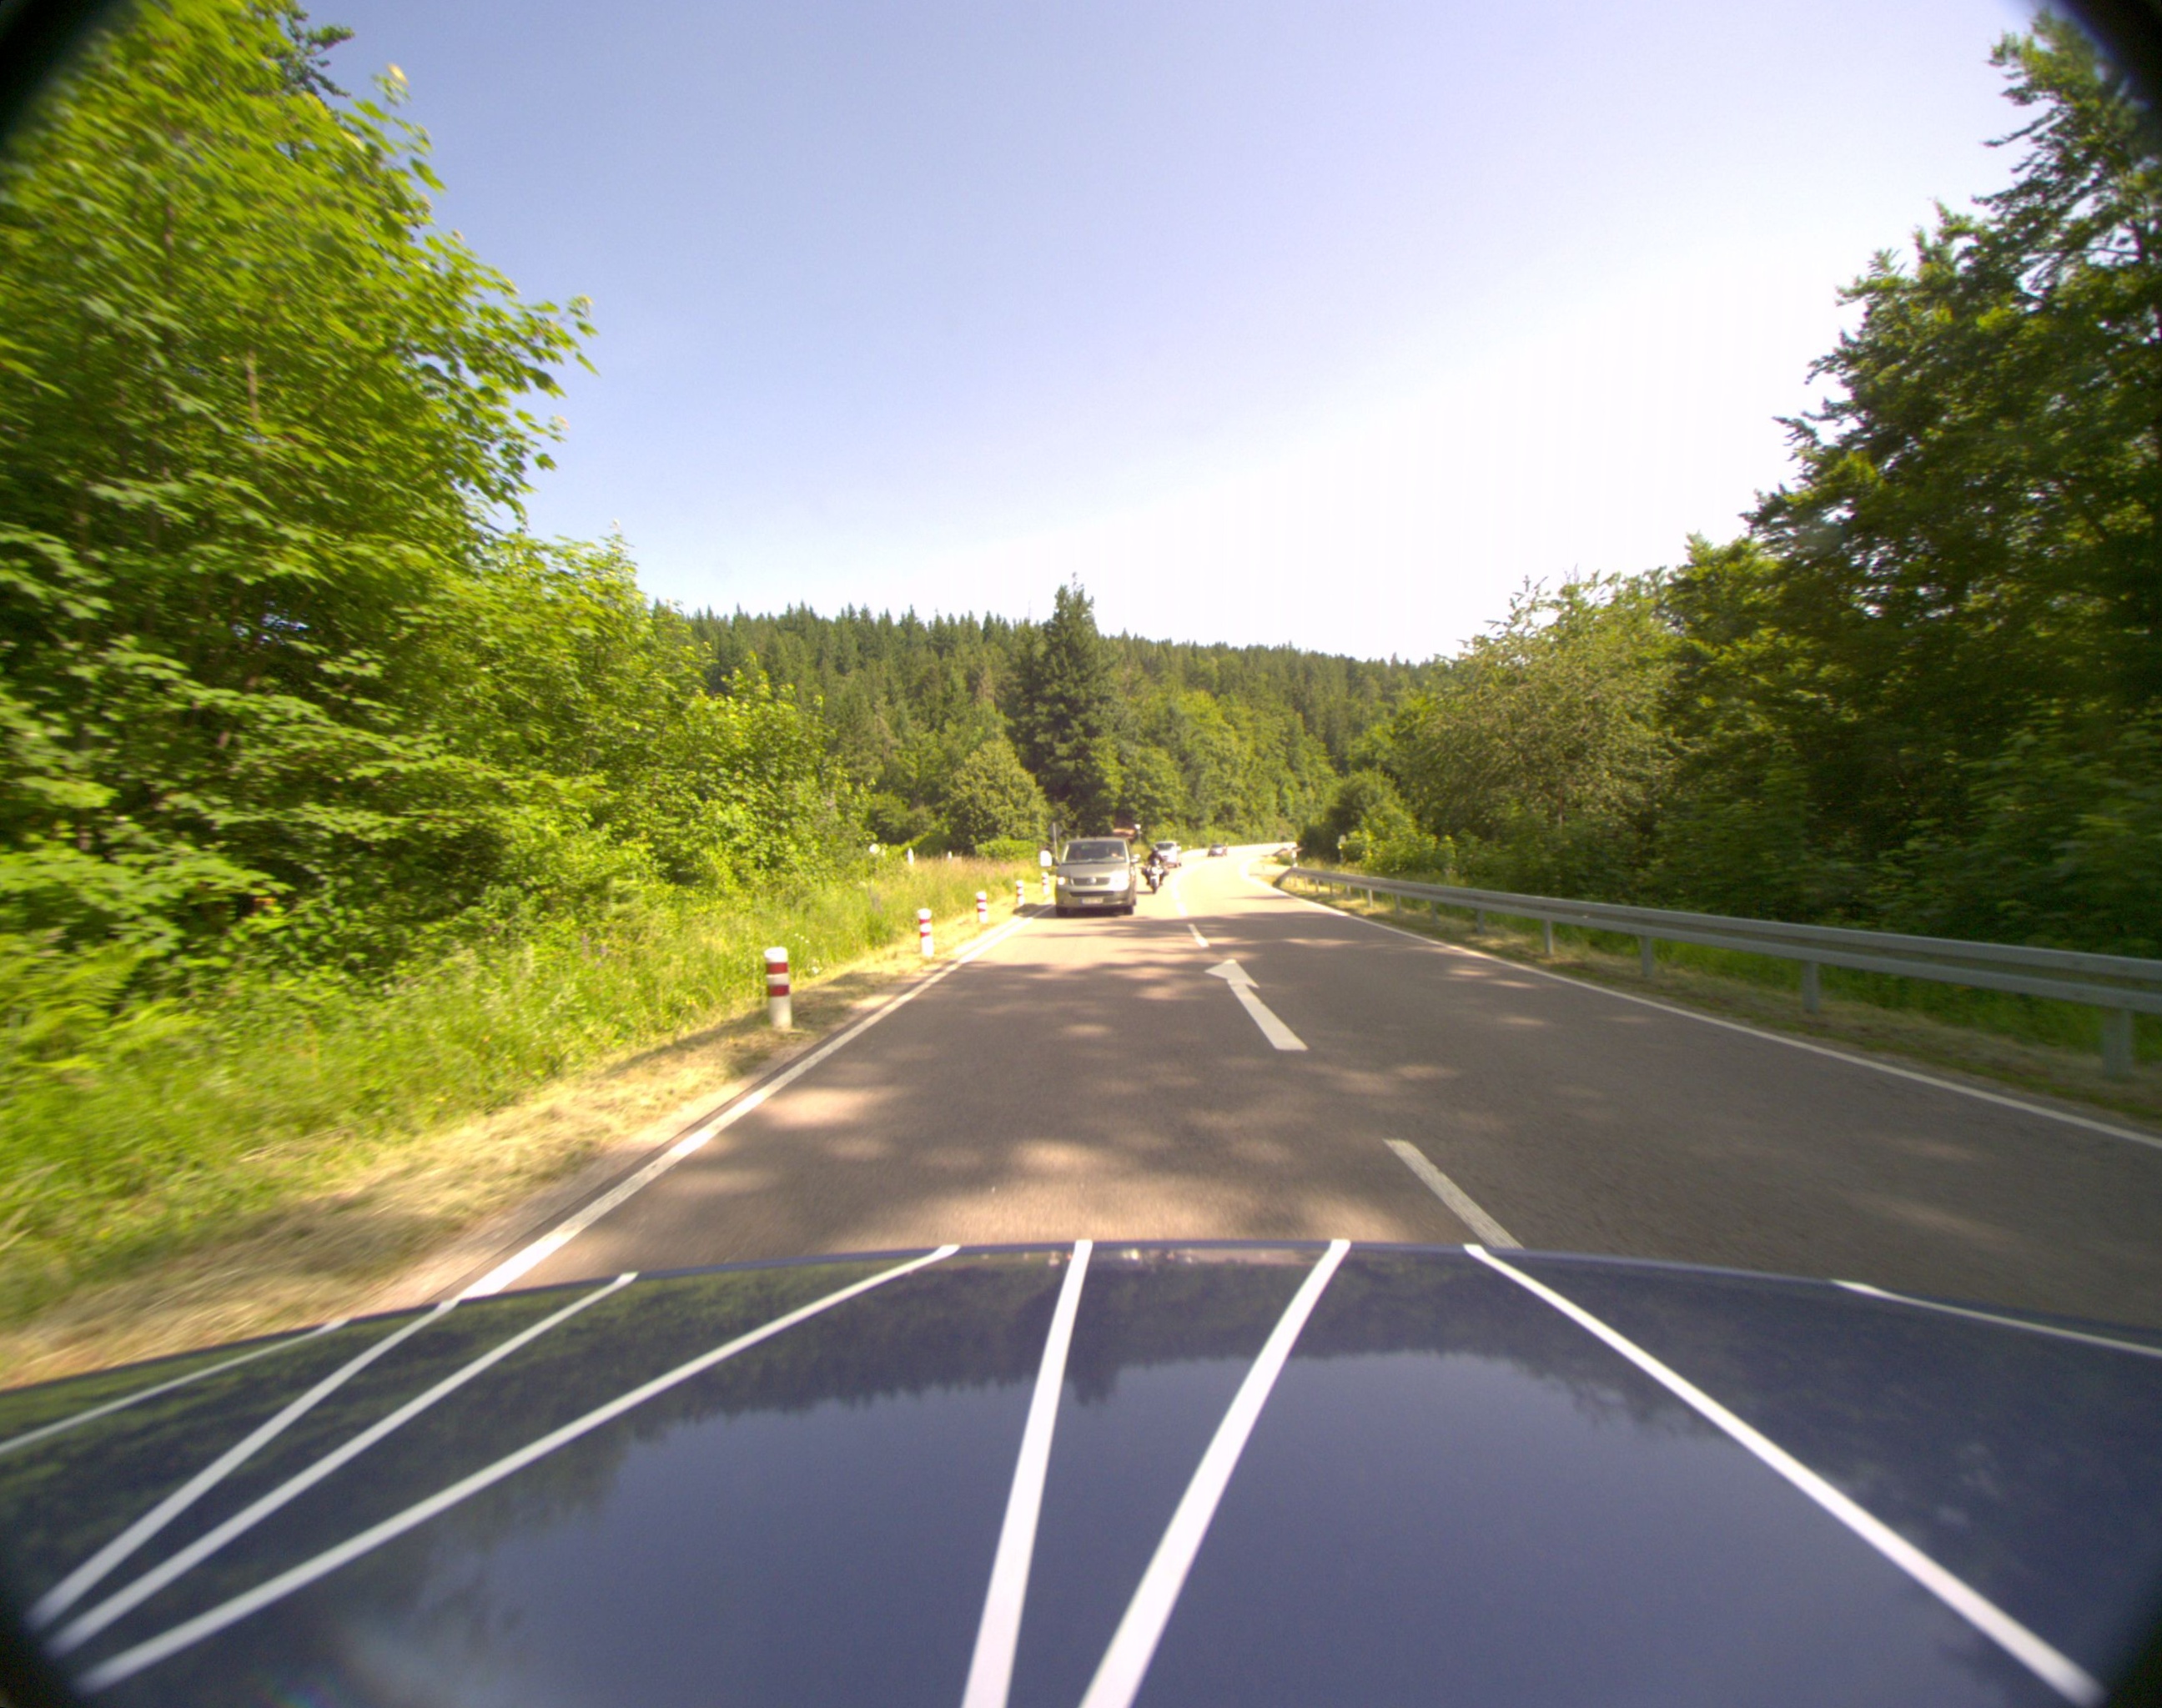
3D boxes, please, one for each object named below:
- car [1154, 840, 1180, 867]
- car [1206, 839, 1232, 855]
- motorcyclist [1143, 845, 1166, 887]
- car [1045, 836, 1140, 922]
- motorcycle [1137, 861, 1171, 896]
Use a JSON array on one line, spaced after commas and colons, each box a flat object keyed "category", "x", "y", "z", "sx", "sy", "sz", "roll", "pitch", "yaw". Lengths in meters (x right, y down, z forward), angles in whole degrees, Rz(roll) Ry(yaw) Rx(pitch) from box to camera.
[{"category": "car", "x": 6.160, "y": -0.062, "z": 54.250, "sx": 1.651, "sy": 1.749, "sz": 3.796, "roll": -1, "pitch": 2, "yaw": 10}, {"category": "car", "x": 15.351, "y": -0.794, "z": 84.408, "sx": 1.996, "sy": 1.634, "sz": 4.005, "roll": -2, "pitch": 1, "yaw": 21}, {"category": "motorcyclist", "x": 2.594, "y": 0.405, "z": 26.804, "sx": 0.716, "sy": 1.422, "sz": 0.999, "roll": -4, "pitch": 0, "yaw": 6}, {"category": "car", "x": 0.440, "y": 0.553, "z": 19.924, "sx": 2.028, "sy": 1.940, "sz": 4.900, "roll": -1, "pitch": 1, "yaw": 6}, {"category": "motorcycle", "x": 2.611, "y": 0.841, "z": 26.915, "sx": 1.109, "sy": 1.117, "sz": 1.961, "roll": -1, "pitch": 1, "yaw": 7}]
